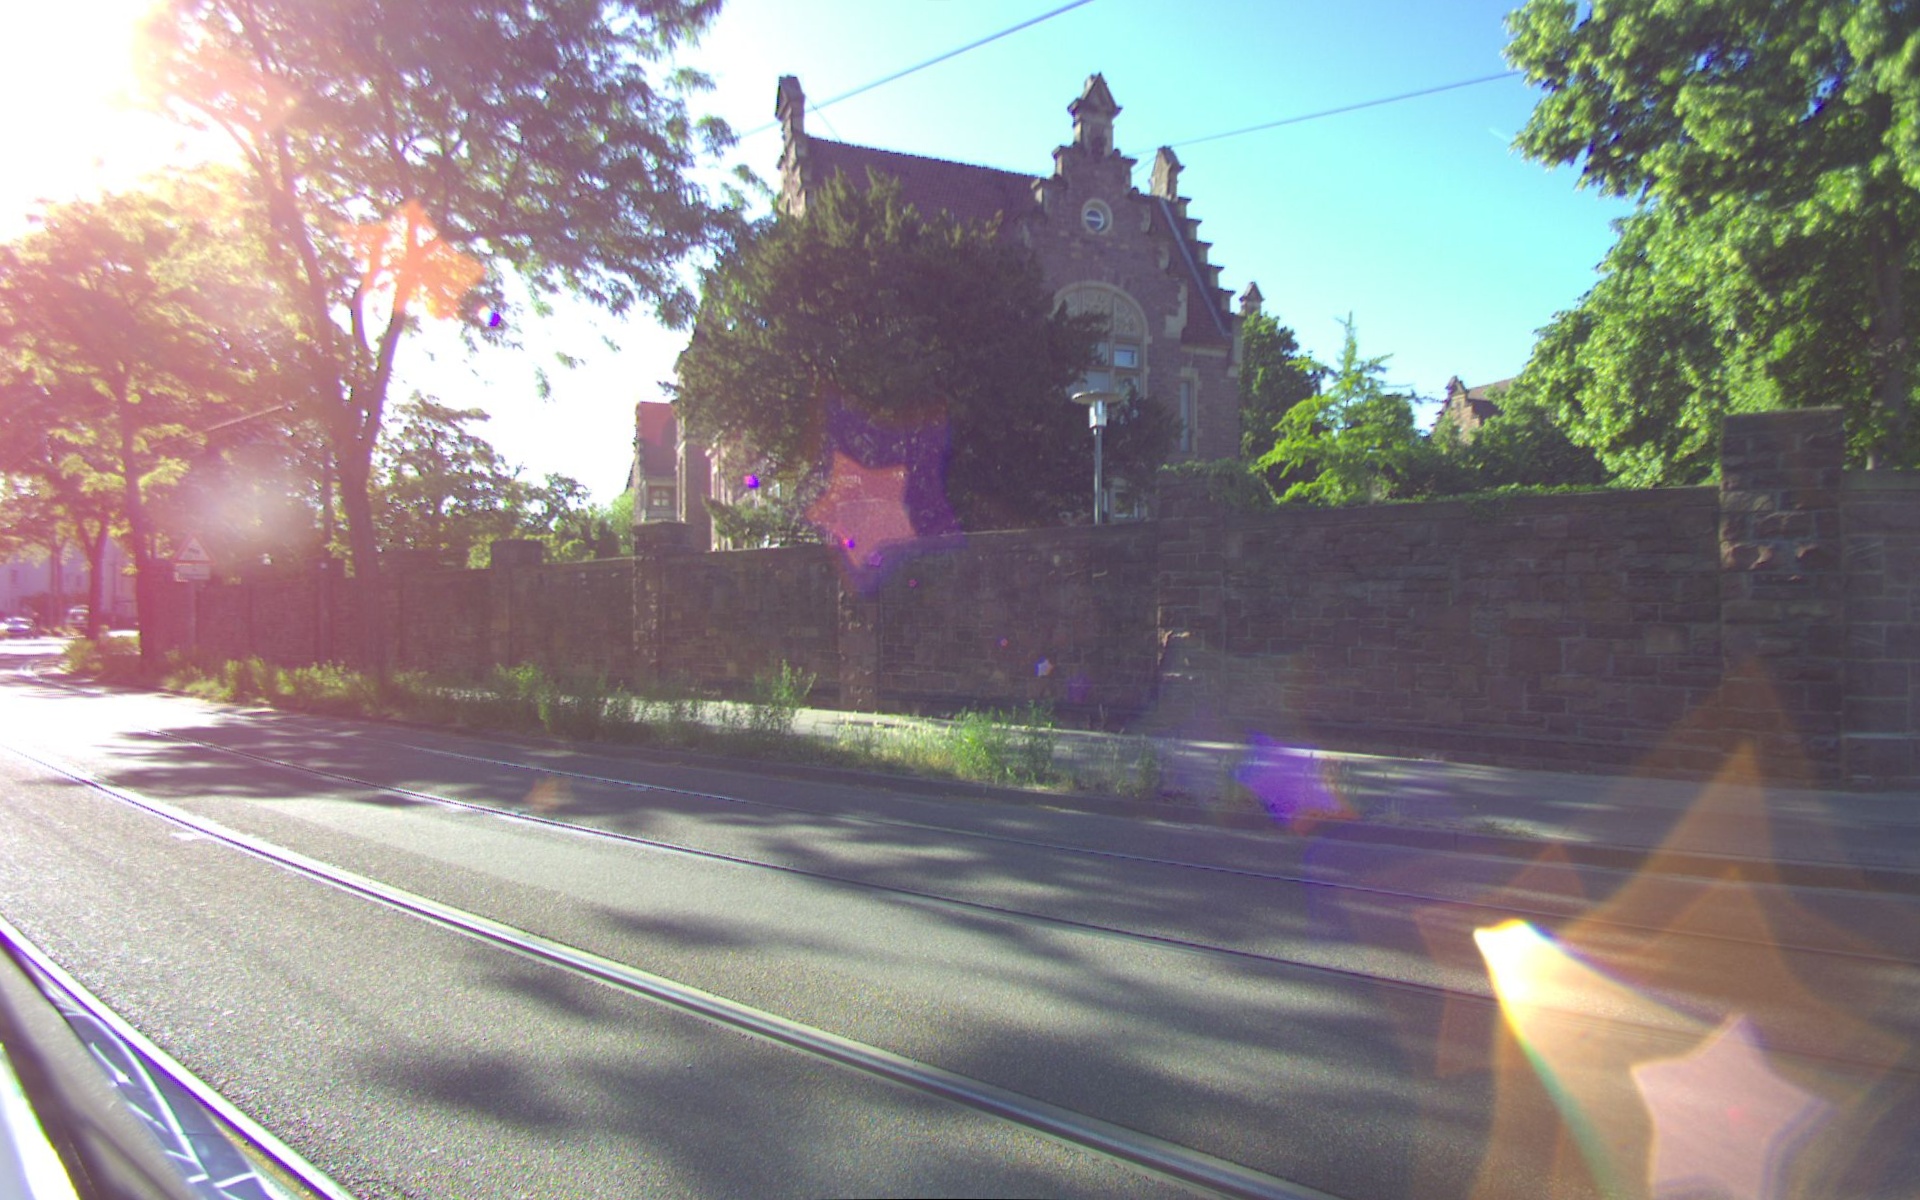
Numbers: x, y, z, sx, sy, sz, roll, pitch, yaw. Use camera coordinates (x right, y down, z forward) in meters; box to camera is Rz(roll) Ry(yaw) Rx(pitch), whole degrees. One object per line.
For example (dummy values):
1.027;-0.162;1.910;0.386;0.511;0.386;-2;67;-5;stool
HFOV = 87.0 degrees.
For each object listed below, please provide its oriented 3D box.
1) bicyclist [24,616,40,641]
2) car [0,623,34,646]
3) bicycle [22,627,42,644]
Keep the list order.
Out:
-61.556;1.903;67.148;0.633;1.653;0.667;-1;0;-31;bicyclist
-68.915;2.499;73.829;1.969;1.560;4.005;0;-1;-41;car
-61.545;2.329;67.134;0.579;1.120;1.861;0;-1;-30;bicycle
